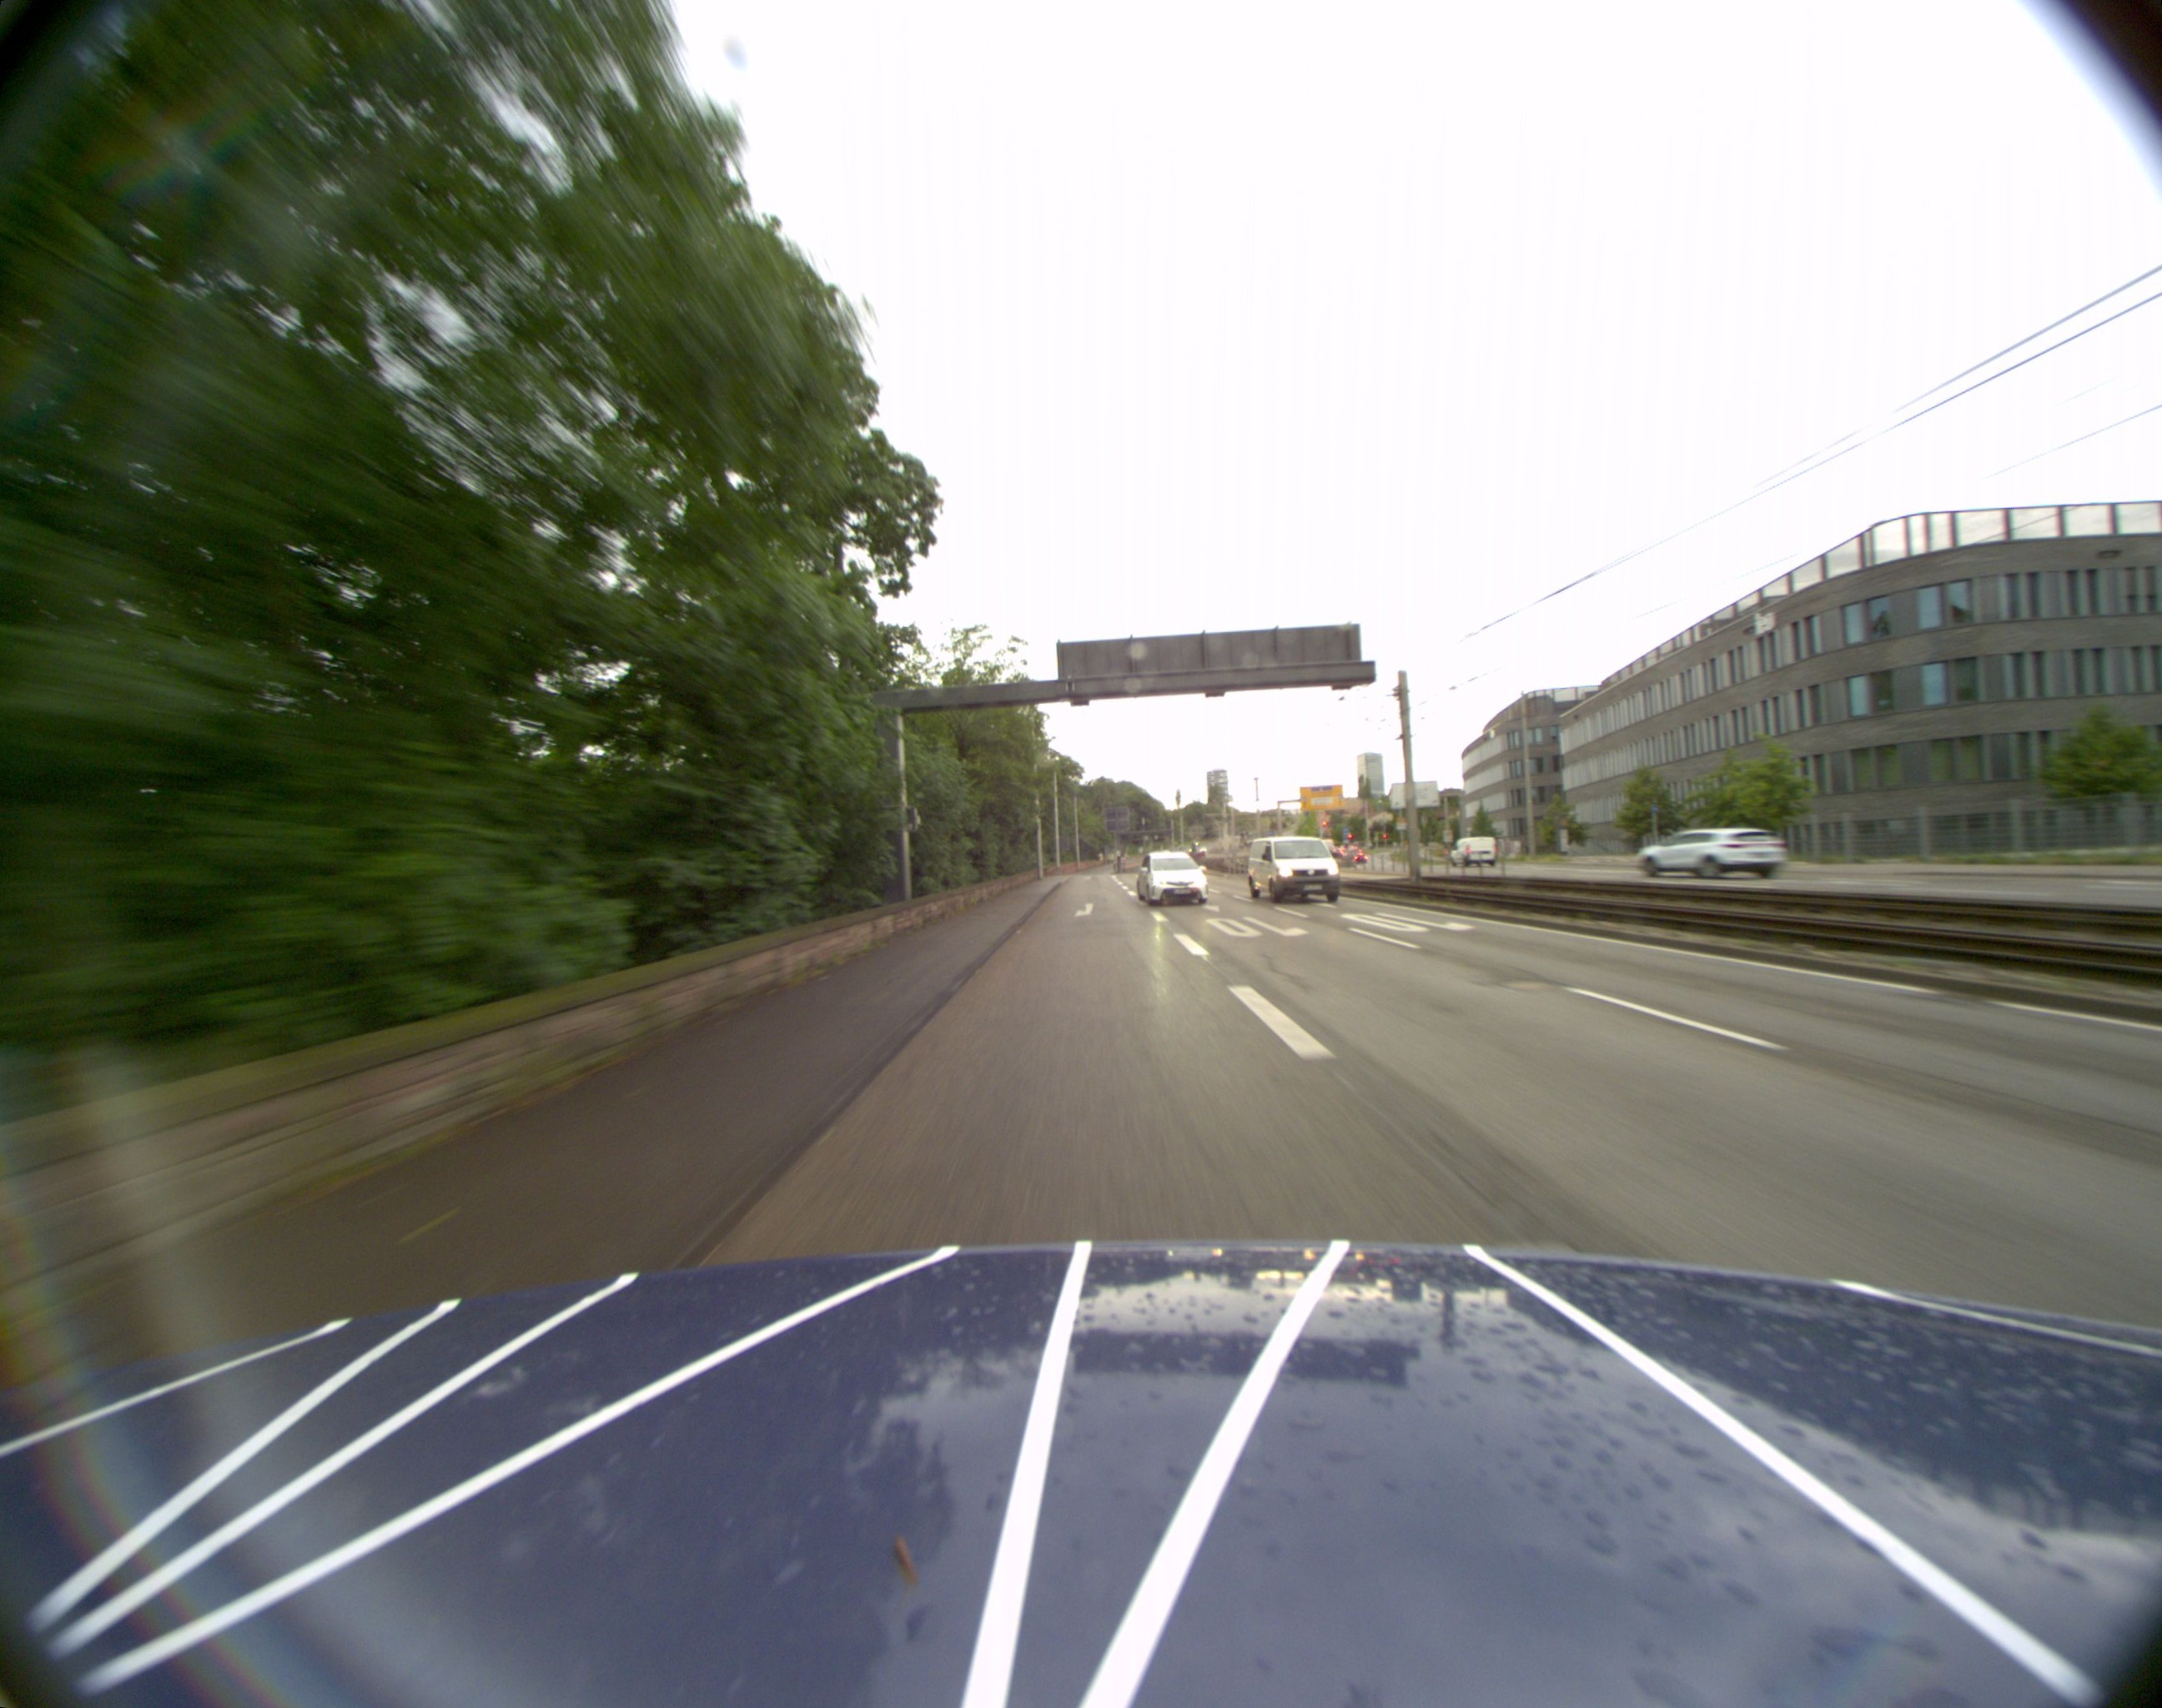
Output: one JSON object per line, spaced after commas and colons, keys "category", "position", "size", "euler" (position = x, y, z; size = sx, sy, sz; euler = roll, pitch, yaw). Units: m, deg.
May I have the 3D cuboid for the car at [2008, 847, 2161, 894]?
{"category": "car", "position": [34.378, 0.501, 25.771], "size": [1.545, 1.428, 3.568], "euler": [-2, 1, 1]}

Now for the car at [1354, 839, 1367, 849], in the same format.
{"category": "car", "position": [50.695, -1.840, 137.757], "size": [1.834, 1.787, 4.220], "euler": [-1, 0, 15]}

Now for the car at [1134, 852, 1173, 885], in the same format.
{"category": "car", "position": [3.646, 0.698, 38.706], "size": [1.663, 1.534, 3.709], "euler": [-2, 0, 1]}

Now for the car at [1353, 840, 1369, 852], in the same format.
{"category": "car", "position": [41.927, -1.207, 113.869], "size": [1.834, 1.787, 4.220], "euler": [-1, 0, 15]}

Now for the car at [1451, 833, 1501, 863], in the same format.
{"category": "car", "position": [25.179, -0.376, 48.557], "size": [1.834, 1.787, 4.219], "euler": [-1, 0, 13]}

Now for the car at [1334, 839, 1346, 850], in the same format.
{"category": "car", "position": [46.216, -1.702, 135.528], "size": [1.668, 1.808, 4.004], "euler": [-2, 1, 15]}

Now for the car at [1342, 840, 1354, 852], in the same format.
{"category": "car", "position": [43.560, -1.260, 124.220], "size": [1.668, 1.893, 4.004], "euler": [-2, 1, 17]}

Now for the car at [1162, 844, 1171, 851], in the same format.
{"category": "car", "position": [24.601, -1.794, 218.500], "size": [1.998, 2.002, 4.000], "euler": [-2, 1, 1]}

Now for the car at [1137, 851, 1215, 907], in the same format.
{"category": "car", "position": [2.927, 0.726, 24.350], "size": [1.982, 1.564, 4.319], "euler": [-2, 0, 1]}

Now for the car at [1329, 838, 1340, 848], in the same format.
{"category": "car", "position": [48.095, -2.058, 144.021], "size": [1.668, 1.893, 4.004], "euler": [-2, 1, 14]}

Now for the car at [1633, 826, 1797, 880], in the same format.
{"category": "car", "position": [21.096, -0.025, 25.579], "size": [1.750, 1.587, 4.488], "euler": [-2, 0, 0]}

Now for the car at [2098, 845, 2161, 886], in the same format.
{"category": "car", "position": [37.712, 0.418, 25.783], "size": [1.622, 1.328, 3.568], "euler": [-2, 1, 1]}

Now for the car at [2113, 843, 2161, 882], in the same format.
{"category": "car", "position": [40.171, 0.329, 27.244], "size": [1.545, 1.374, 3.568], "euler": [-2, 1, 1]}

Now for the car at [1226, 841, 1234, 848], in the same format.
{"category": "car", "position": [40.339, -2.633, 205.700], "size": [1.997, 1.936, 4.002], "euler": [-2, 1, 10]}

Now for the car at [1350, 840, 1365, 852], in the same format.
{"category": "car", "position": [43.266, -1.202, 118.946], "size": [1.834, 1.787, 4.220], "euler": [-1, 0, 15]}

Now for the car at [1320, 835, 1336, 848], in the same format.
{"category": "car", "position": [48.956, -2.455, 150.734], "size": [2.335, 2.453, 7.032], "euler": [-2, 1, 14]}

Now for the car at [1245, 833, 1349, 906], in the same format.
{"category": "car", "position": [6.520, 0.422, 23.531], "size": [1.914, 1.947, 4.718], "euler": [-2, 0, 1]}
